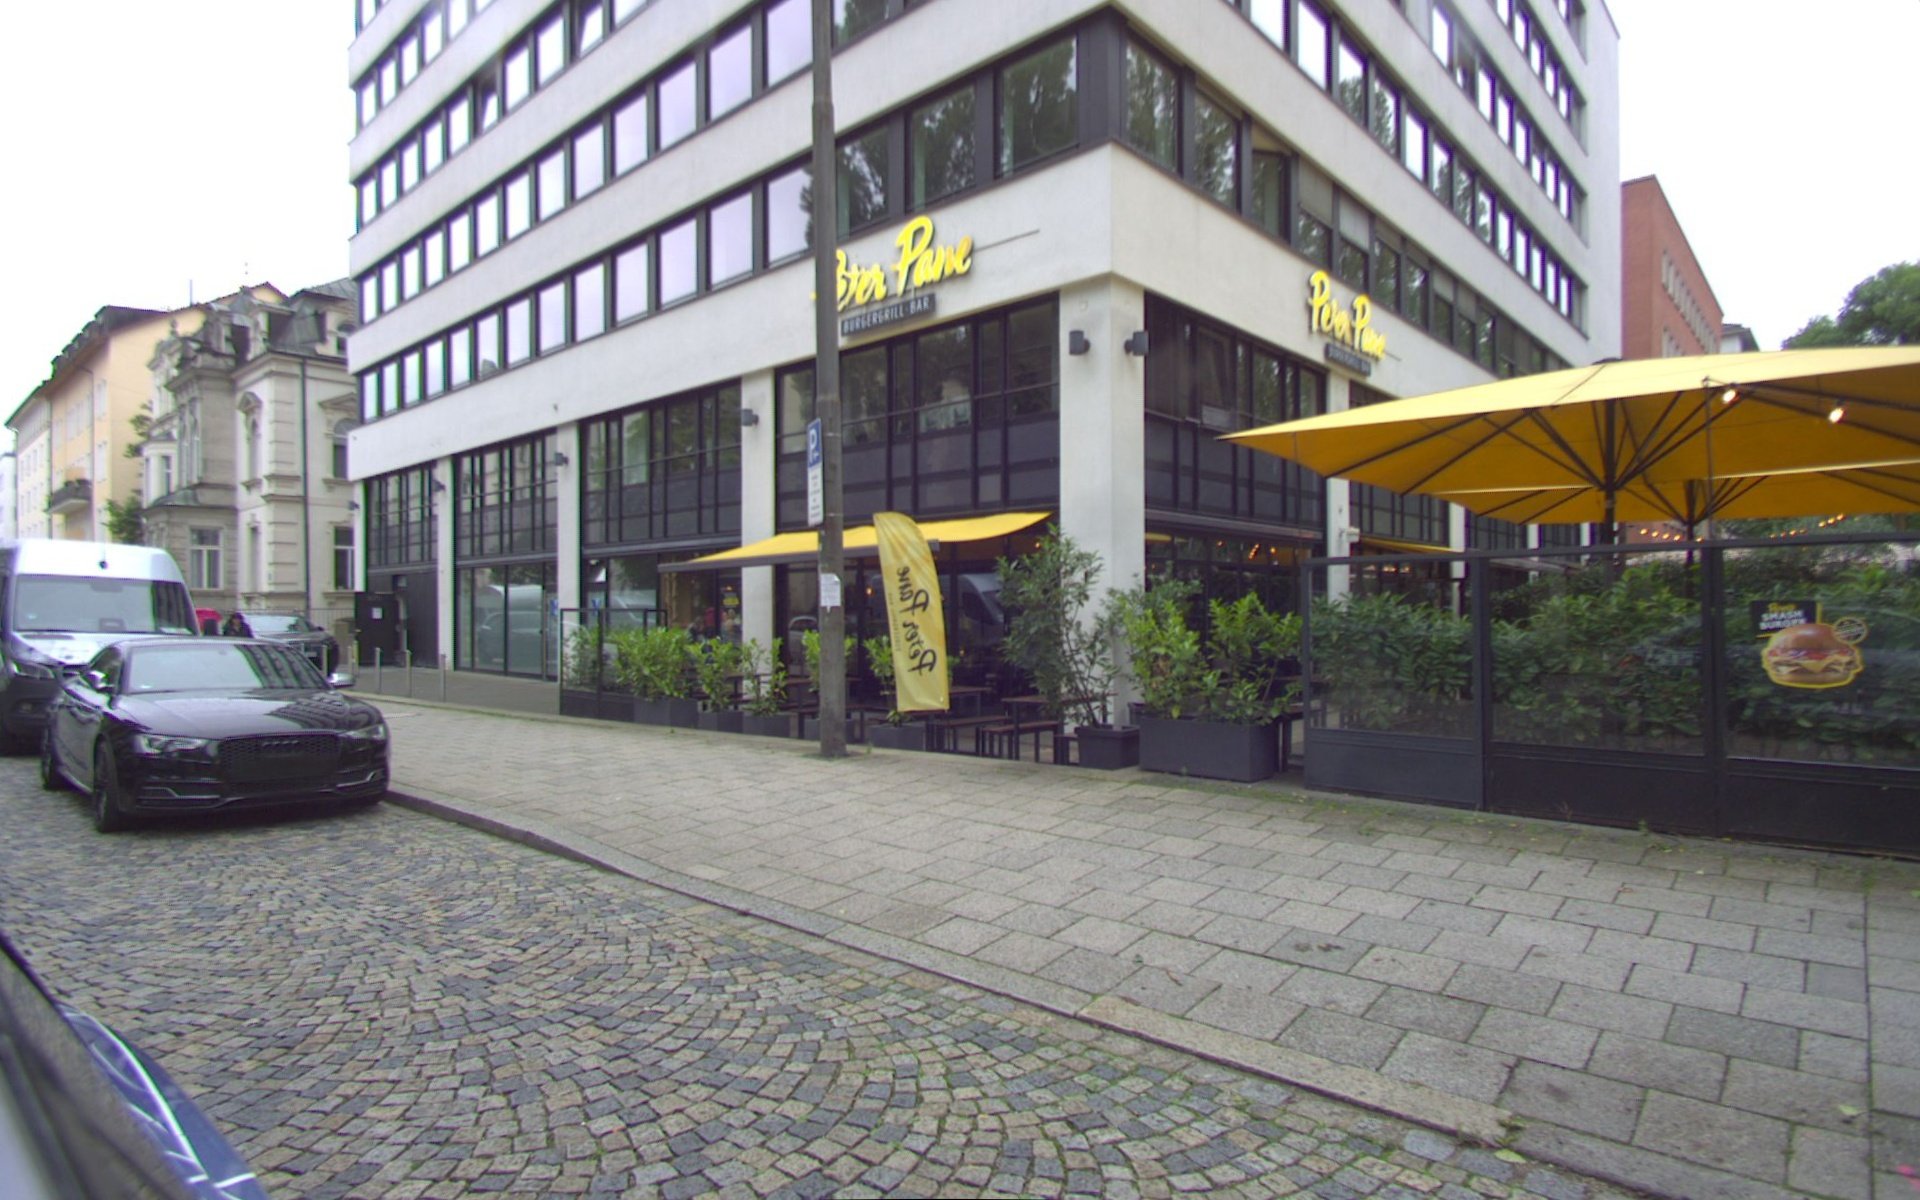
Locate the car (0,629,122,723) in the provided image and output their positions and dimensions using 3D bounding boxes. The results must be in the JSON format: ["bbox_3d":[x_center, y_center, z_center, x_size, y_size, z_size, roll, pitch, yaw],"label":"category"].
[{"bbox_3d":[-16.089,1.243,17.557,4.001,1.441,1.971,-2,-2,44],"label":"car"}]

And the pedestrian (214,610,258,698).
[{"bbox_3d":[-14.794,1.092,20.675,0.650,1.761,0.568,-1,-1,38],"label":"pedestrian"}]

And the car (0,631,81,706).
[{"bbox_3d":[-19.548,1.343,20.595,3.998,1.399,1.973,-1,-2,41],"label":"car"}]

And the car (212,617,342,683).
[{"bbox_3d":[-17.751,1.237,26.232,4.169,1.544,1.887,-1,-1,42],"label":"car"}]

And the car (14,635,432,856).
[{"bbox_3d":[-6.319,0.990,8.511,4.114,1.340,1.973,-1,-2,41],"label":"car"}]

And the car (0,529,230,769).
[{"bbox_3d":[-11.615,0.569,13.257,5.845,2.510,2.038,-1,-2,41],"label":"car"}]

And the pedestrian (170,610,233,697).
[{"bbox_3d":[-15.405,1.061,20.556,0.800,1.719,0.916,-1,-1,44],"label":"pedestrian"}]
